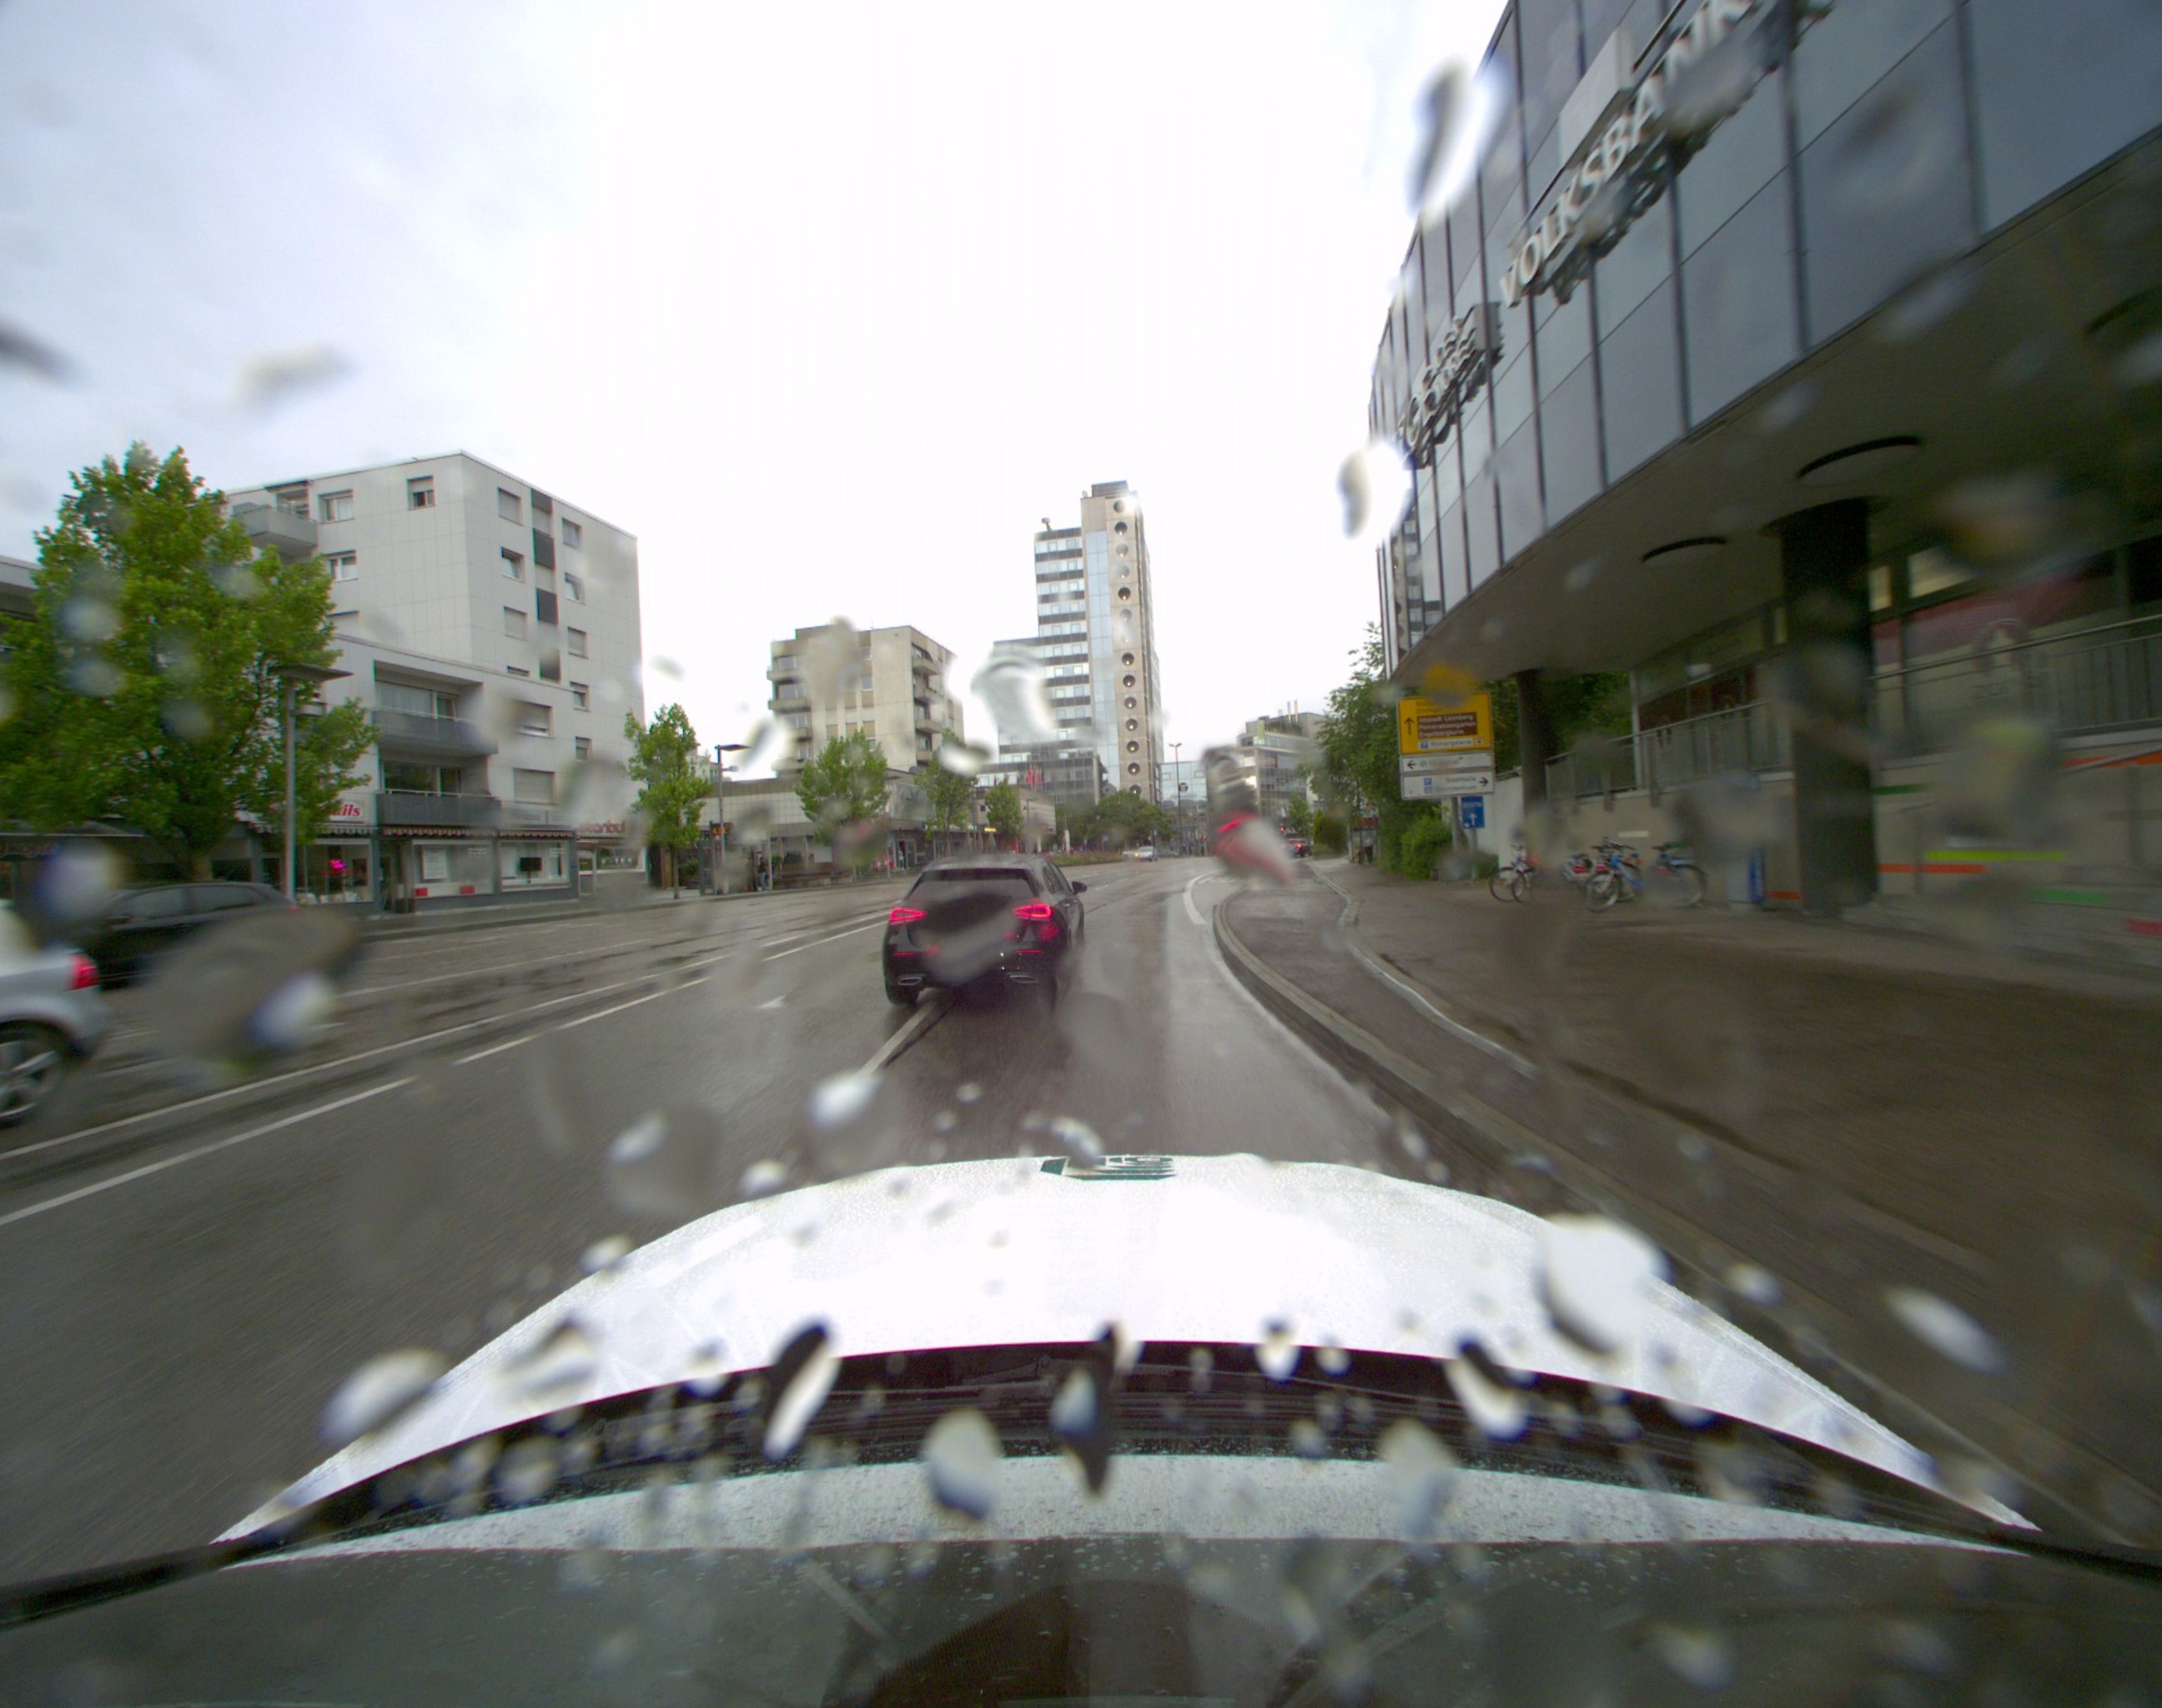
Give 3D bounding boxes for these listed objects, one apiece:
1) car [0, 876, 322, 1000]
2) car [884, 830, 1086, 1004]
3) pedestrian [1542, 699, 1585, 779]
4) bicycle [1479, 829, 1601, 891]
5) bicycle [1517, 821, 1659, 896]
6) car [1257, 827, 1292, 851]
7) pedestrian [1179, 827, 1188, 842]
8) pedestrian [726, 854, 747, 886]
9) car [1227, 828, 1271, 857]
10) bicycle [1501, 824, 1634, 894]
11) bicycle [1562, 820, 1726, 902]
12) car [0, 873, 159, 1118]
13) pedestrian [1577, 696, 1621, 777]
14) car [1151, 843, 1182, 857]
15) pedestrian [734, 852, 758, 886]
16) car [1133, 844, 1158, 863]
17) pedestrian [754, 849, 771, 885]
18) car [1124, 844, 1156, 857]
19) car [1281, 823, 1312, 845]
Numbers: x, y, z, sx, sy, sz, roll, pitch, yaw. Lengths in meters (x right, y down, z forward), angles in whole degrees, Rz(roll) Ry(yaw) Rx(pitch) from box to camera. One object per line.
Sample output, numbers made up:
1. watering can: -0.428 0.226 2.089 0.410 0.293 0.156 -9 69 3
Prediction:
1. car: -13.417 1.088 11.516 1.427 1.297 3.787 -3 1 9
2. car: -0.848 0.524 9.358 1.657 1.481 4.096 -3 1 1
3. pedestrian: 11.022 -2.613 18.621 0.648 1.713 0.602 -2 2 13
4. bicycle: 8.483 0.111 15.123 1.837 0.951 0.538 -6 1 11
5. bicycle: 8.439 0.075 13.623 1.838 1.042 0.649 -6 -1 8
6. car: 15.643 -1.230 65.714 1.869 1.672 4.024 -3 1 25
7. pedestrian: 11.608 -2.222 92.564 0.799 1.754 0.816 -3 1 17
8. pedestrian: -16.603 0.776 39.266 0.631 1.470 0.637 -3 1 3
9. car: 12.262 -0.893 59.241 2.024 1.895 4.164 -3 1 26
10. bicycle: 8.548 0.086 14.377 1.838 1.033 0.630 -6 -1 8
11. bicycle: 8.285 0.107 12.051 1.838 1.023 0.633 -5 -1 8
12. car: -7.479 0.928 3.720 1.732 1.441 3.998 -3 1 5
13. pedestrian: 11.684 -2.635 18.381 0.648 1.713 0.602 -2 2 13
14. car: 11.385 -0.535 108.533 3.857 1.518 1.790 -3 1 9
15. pedestrian: -16.524 0.734 40.165 0.791 1.571 0.637 -3 1 3
16. car: 6.167 -0.056 77.351 1.680 1.632 3.526 -3 1 14
17. pedestrian: -15.772 0.651 40.289 0.484 1.718 0.539 -3 1 6
18. car: 7.644 -0.469 106.008 3.965 1.384 1.732 -3 1 7
19. car: 18.998 -1.784 71.607 1.893 1.724 3.832 -3 1 25
